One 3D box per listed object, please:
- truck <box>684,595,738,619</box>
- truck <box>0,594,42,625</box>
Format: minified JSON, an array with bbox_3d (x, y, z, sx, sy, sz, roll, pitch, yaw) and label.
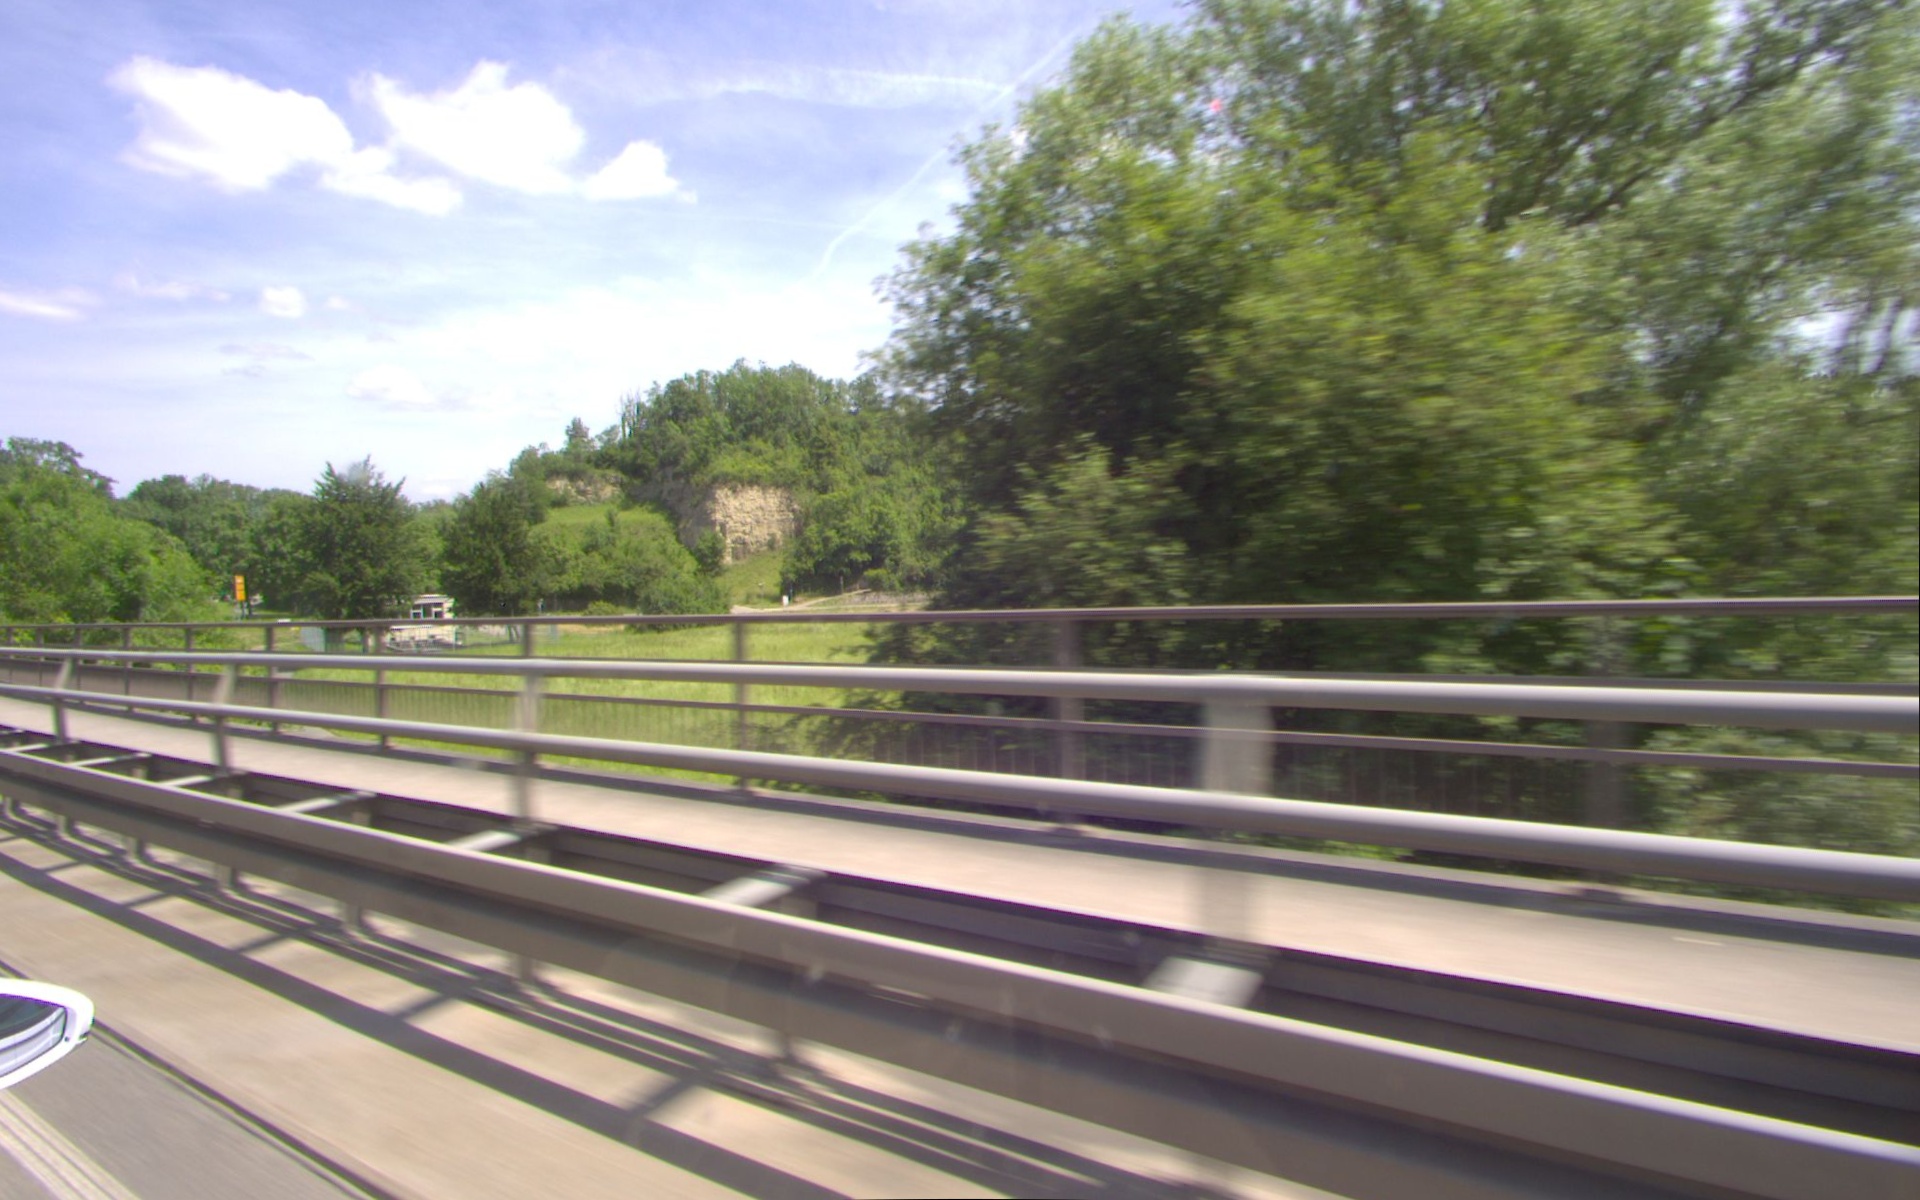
[{"bbox_3d":[-30.654,0.900,123.284,5.945,2.762,2.489,1,-2,-31],"label":"truck"},{"bbox_3d":[-94.202,0.947,99.527,2.824,2.987,7.066,0,0,-30],"label":"truck"}]
